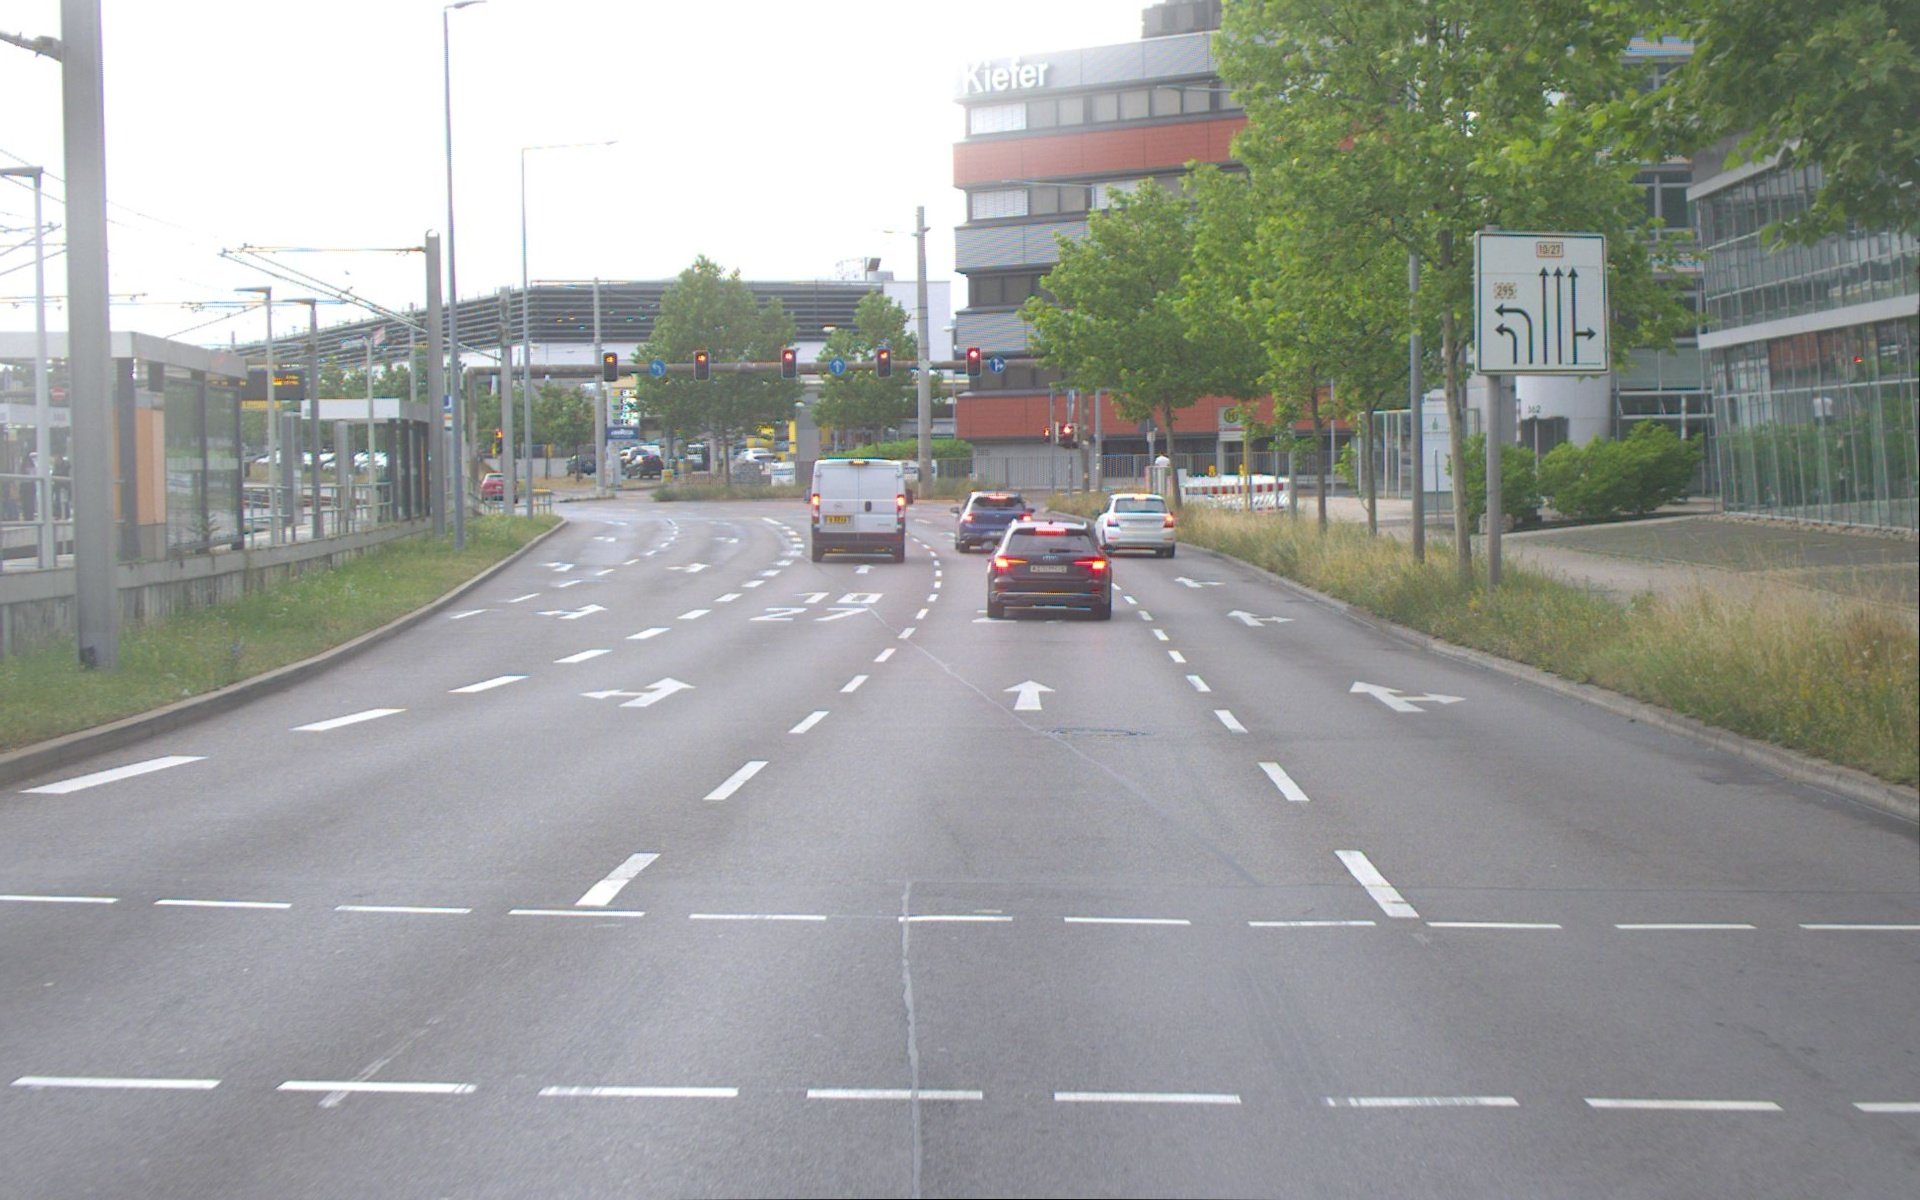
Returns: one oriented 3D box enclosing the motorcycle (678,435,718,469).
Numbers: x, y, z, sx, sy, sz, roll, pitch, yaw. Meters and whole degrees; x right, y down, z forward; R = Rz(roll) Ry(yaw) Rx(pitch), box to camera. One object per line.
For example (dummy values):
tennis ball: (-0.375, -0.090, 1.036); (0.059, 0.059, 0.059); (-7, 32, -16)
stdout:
motorcycle: (-17.631, -9.962, 231.170); (1.993, 2.007, 4.001); (1, -1, -14)

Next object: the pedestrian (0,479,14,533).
pedestrian: (-22.558, -2.190, 80.399); (0.726, 1.248, 0.732); (0, 0, -5)

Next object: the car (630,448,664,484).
car: (-19.003, -8.124, 208.454); (1.817, 2.007, 3.471); (0, -1, -9)

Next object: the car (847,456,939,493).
car: (-3.052, -5.683, 156.242); (2.022, 1.617, 3.998); (-1, 2, -44)

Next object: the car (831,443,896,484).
car: (-5.252, -7.397, 186.927); (1.993, 2.007, 4.000); (1, -1, -28)

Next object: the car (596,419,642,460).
car: (-19.004, -8.937, 191.459); (1.993, 2.007, 4.001); (0, -1, -14)

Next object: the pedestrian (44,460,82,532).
pedestrian: (-22.197, -2.573, 85.063); (0.752, 1.745, 0.764); (0, -1, -3)

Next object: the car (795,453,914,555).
car: (-2.343, -2.132, 76.006); (2.511, 2.169, 5.150); (0, 2, -2)

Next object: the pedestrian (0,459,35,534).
pedestrian: (-21.745, -2.381, 79.052); (0.729, 1.709, 0.831); (0, 0, -2)

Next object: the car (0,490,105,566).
car: (-17.353, -1.367, 64.720); (1.858, 1.331, 3.335); (0, 3, -4)

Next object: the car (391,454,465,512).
car: (-17.712, -3.886, 114.646); (1.993, 1.802, 3.848); (3, 1, -4)

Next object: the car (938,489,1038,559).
car: (0.638, -1.825, 82.366); (2.021, 1.617, 4.001); (0, 1, -5)

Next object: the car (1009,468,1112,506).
car: (4.405, -4.972, 150.983); (2.022, 1.617, 4.323); (-1, 2, -44)

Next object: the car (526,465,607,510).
car: (-19.628, -5.597, 171.579); (1.994, 2.007, 3.997); (1, -1, -44)

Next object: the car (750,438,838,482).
car: (-7.939, -6.674, 163.796); (1.994, 2.007, 3.998); (1, 1, -44)

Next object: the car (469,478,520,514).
car: (-21.662, -4.838, 160.016); (2.020, 1.617, 4.001); (0, 1, -12)

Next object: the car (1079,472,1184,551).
car: (3.976, -2.090, 80.464); (2.021, 1.763, 4.001); (0, 2, -3)

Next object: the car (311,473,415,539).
car: (-14.043, -2.193, 81.061); (1.993, 1.448, 3.848); (0, 0, -4)

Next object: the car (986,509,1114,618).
car: (1.367, -0.570, 50.643); (1.764, 1.458, 4.627); (1, 2, 3)

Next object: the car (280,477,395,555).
car: (-13.376, -1.826, 74.022); (1.993, 1.447, 3.849); (0, 5, -4)
